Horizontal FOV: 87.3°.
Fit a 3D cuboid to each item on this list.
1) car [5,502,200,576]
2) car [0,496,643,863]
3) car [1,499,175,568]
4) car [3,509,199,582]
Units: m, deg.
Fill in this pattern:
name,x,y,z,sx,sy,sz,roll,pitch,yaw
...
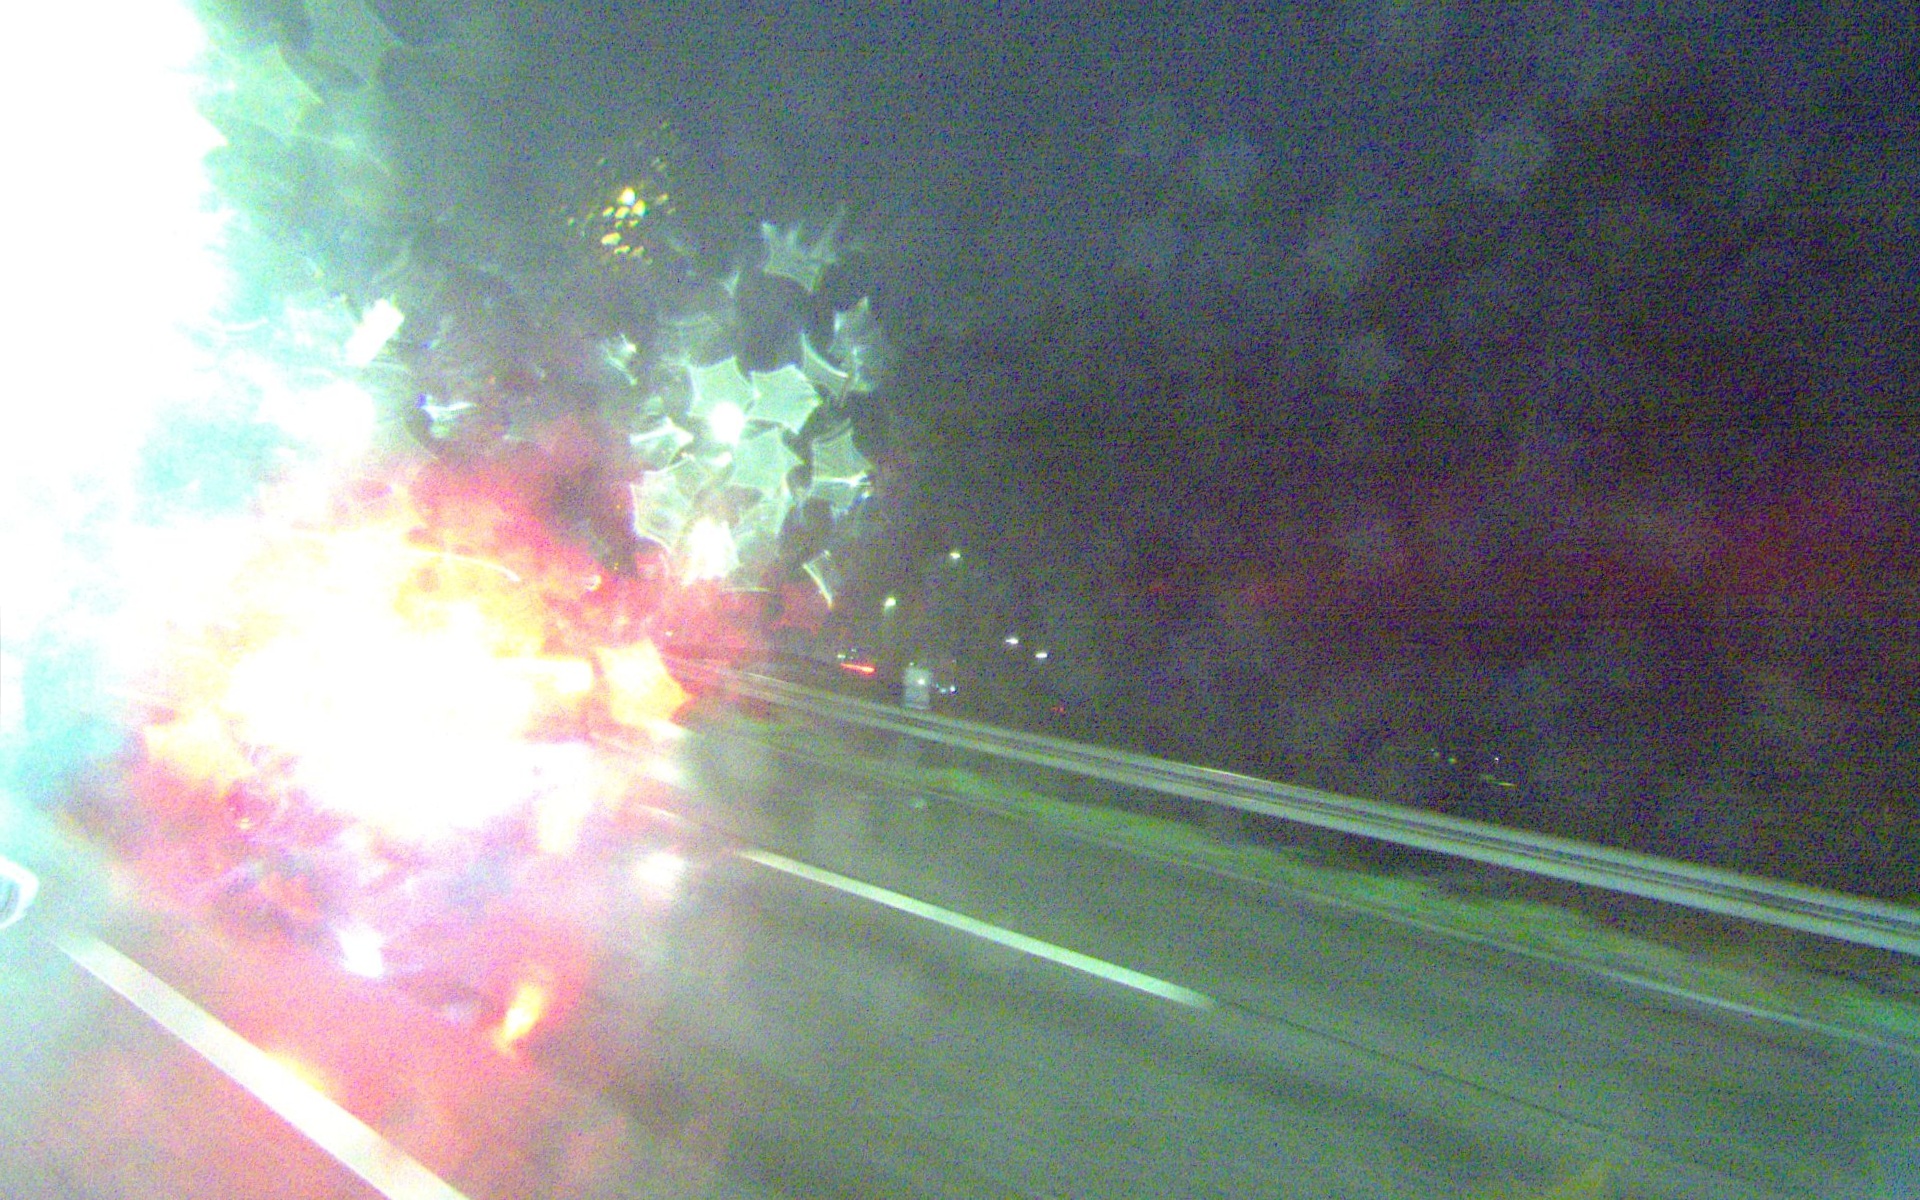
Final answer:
name,x,y,z,sx,sy,sz,roll,pitch,yaw
car,-28.547,-1.987,33.662,1.825,1.535,4.499,8,-3,28
car,-4.090,0.359,6.261,3.893,1.538,1.682,6,-4,29
car,-30.865,-2.328,35.741,1.825,1.535,4.179,8,-3,28
car,-25.929,-1.599,30.518,1.717,1.360,4.057,8,-3,28
